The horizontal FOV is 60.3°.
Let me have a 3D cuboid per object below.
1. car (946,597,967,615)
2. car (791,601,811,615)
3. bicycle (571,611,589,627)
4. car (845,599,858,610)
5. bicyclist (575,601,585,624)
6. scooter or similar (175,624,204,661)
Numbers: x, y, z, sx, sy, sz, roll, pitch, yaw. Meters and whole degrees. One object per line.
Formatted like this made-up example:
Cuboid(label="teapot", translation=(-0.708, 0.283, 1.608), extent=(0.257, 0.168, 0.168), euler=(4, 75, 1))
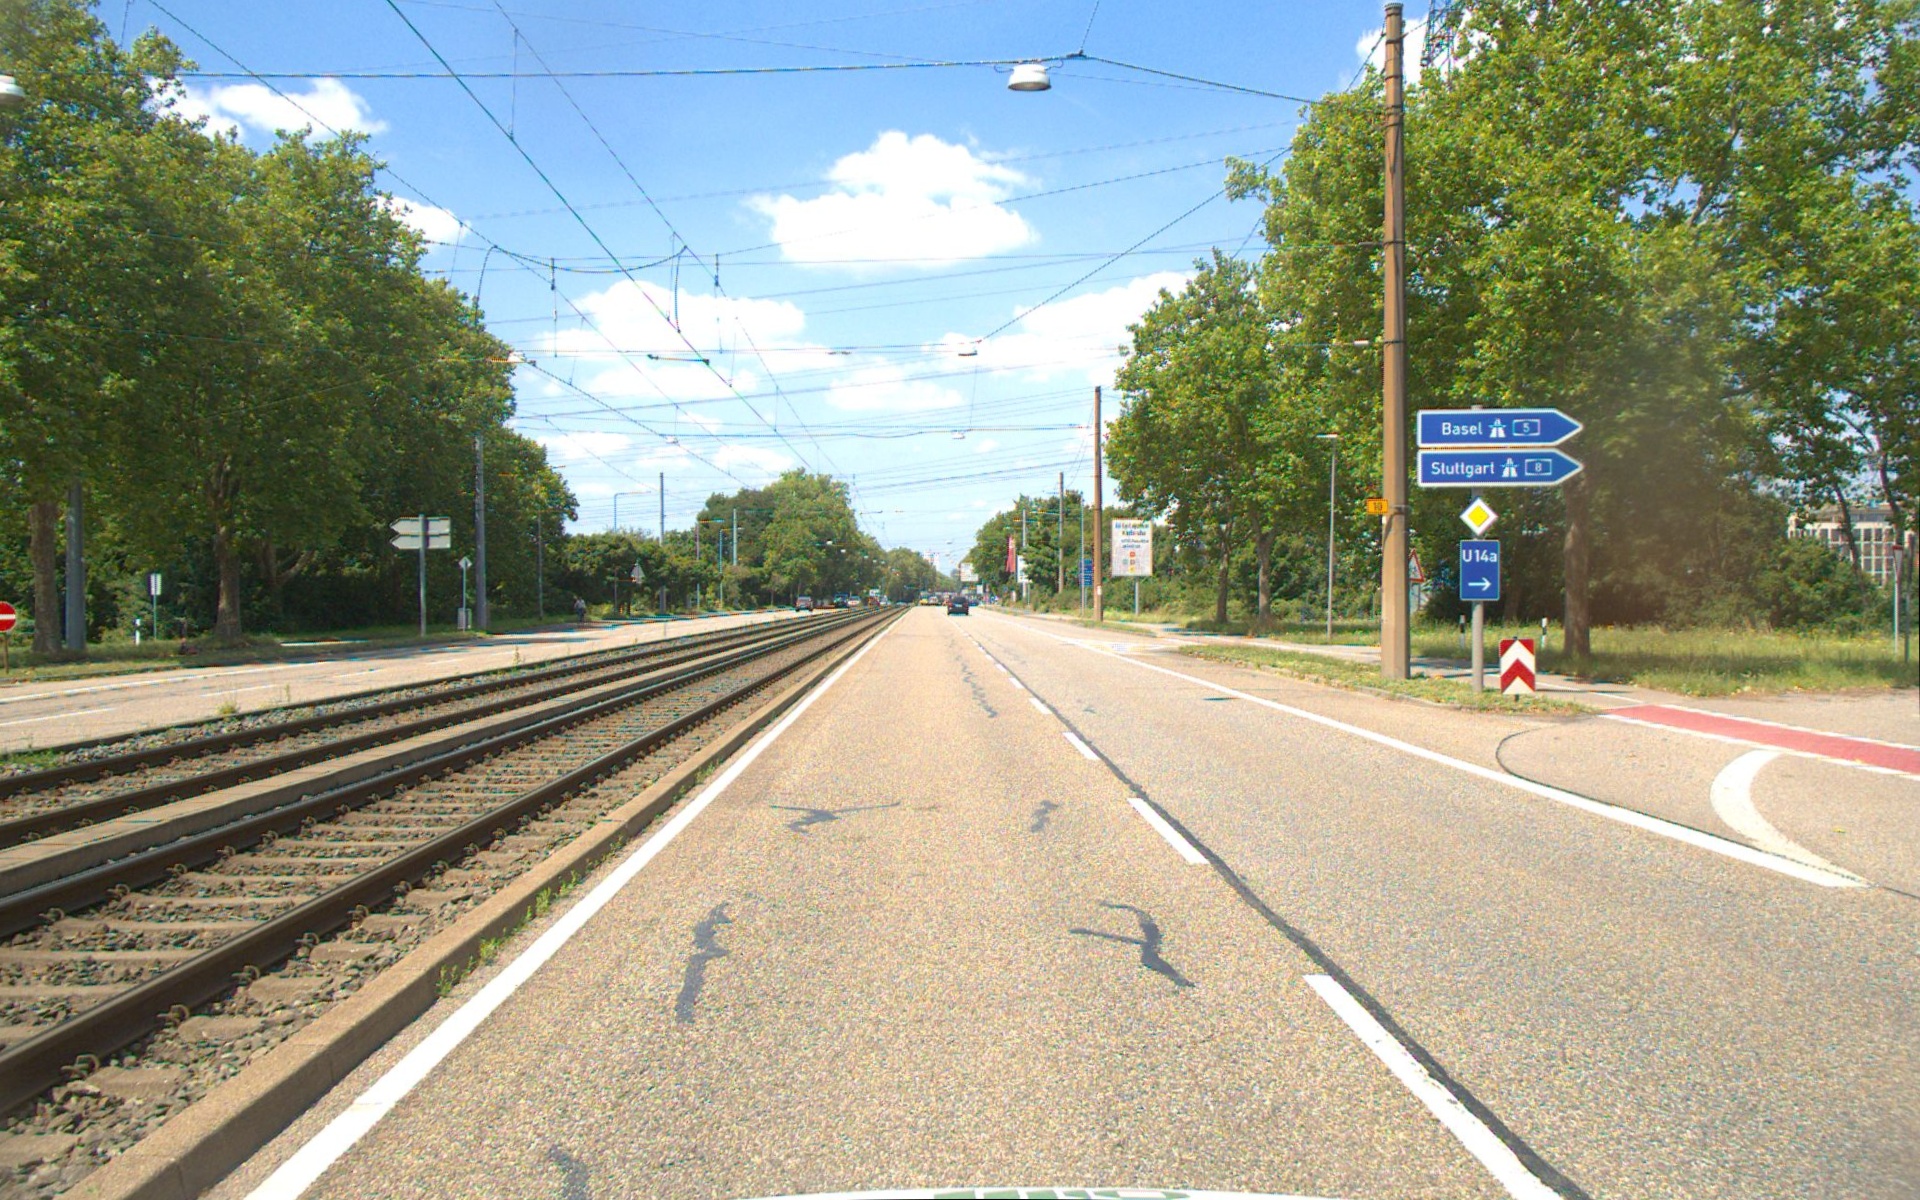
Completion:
Cuboid(label="car", translation=(-0.274, 0.501, 136.266), extent=(1.554, 1.366, 3.271), euler=(-1, 1, -3))
Cuboid(label="car", translation=(-17.333, 0.871, 180.506), extent=(1.837, 1.355, 3.917), euler=(-2, 0, -1))
Cuboid(label="bicycle", translation=(-21.480, 1.068, 93.541), extent=(0.505, 0.872, 1.932), euler=(0, 0, 2))
Cuboid(label="car", translation=(-15.127, 0.586, 230.322), extent=(1.681, 1.453, 3.900), euler=(0, 0, -1))
Cuboid(label="bicyclist", translation=(-21.457, 0.713, 93.469), extent=(0.445, 1.295, 0.398), euler=(0, 0, 1))
Cuboid(label="scooter or similar", translation=(-22.934, 1.261, 49.228), extent=(0.292, 1.040, 0.997), euler=(2, 0, 6))
